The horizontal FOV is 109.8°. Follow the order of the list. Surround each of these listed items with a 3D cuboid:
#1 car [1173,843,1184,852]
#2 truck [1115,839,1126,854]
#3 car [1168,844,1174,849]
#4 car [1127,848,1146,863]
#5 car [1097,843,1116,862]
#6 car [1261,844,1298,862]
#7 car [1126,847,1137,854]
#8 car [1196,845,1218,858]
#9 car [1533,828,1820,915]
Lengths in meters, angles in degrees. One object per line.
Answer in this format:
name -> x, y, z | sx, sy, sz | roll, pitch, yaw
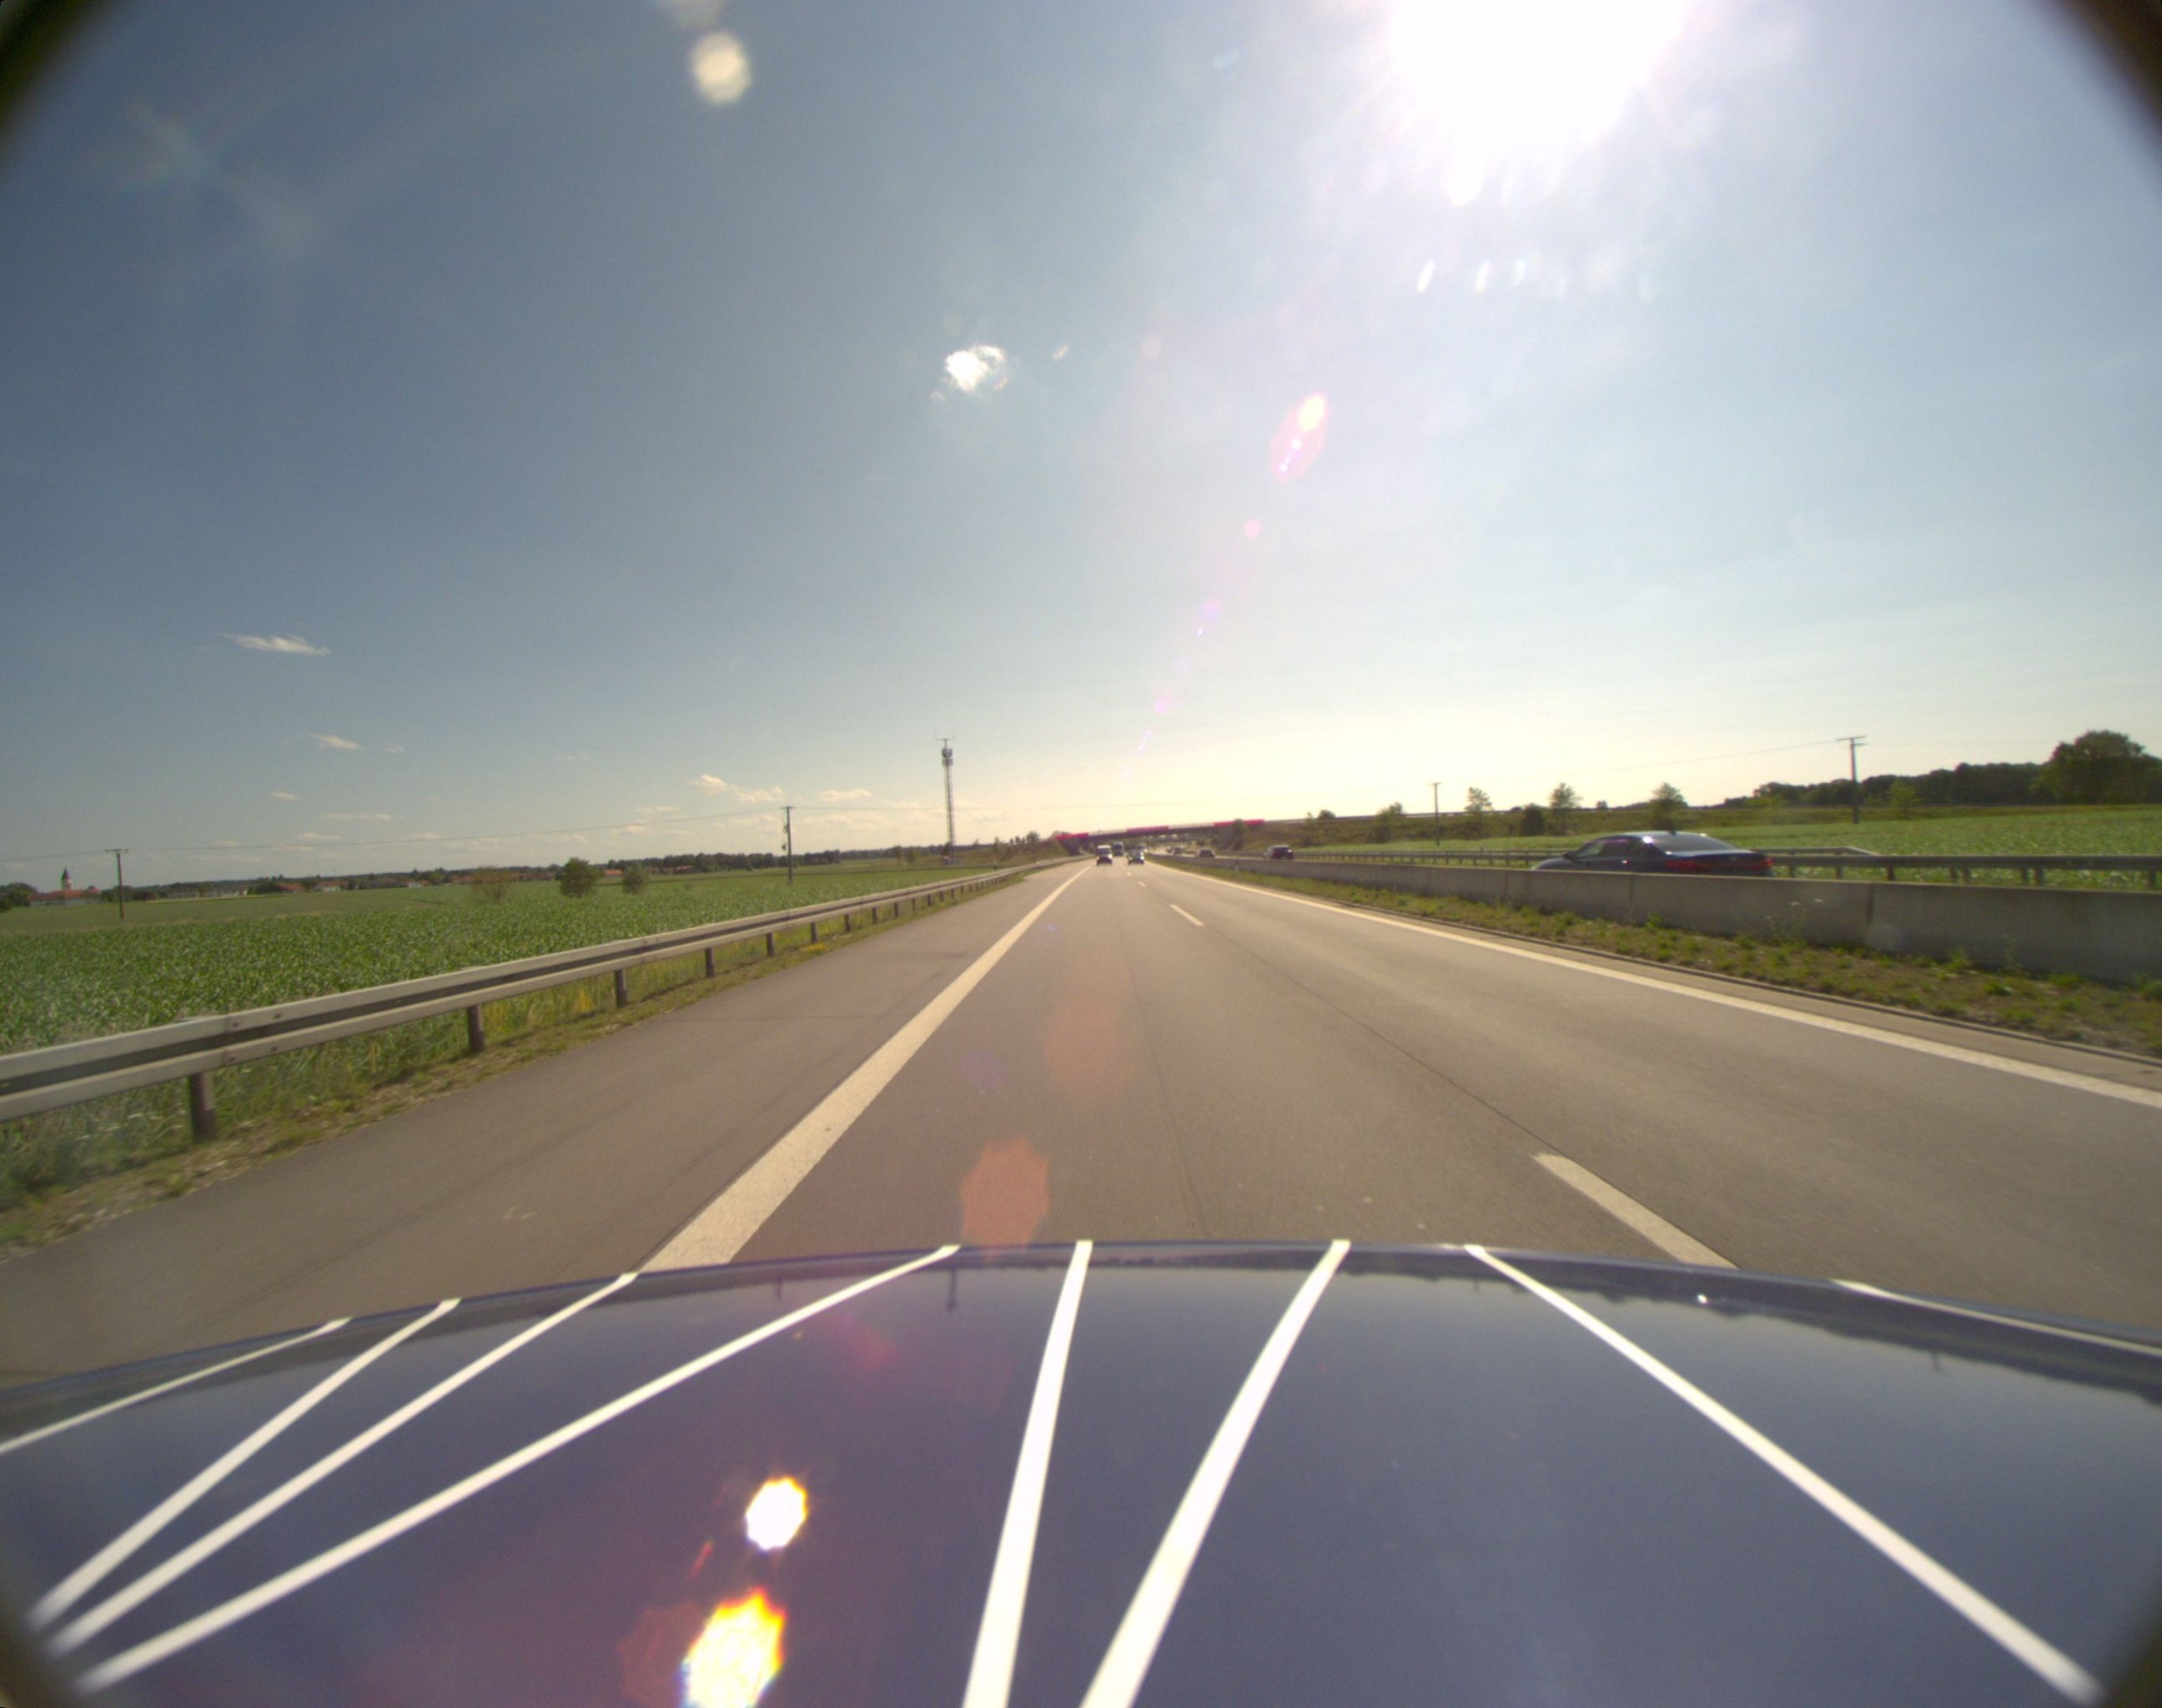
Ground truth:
car -> 23.819, -1.635, 185.972 | 1.998, 2.002, 5.613 | -2, 1, 3
truck -> 10.877, -2.132, 211.736 | 2.762, 3.793, 7.517 | -3, 1, 2
car -> 29.965, -2.346, 253.099 | 1.863, 1.505, 4.586 | -4, 0, 4
car -> 6.531, 0.161, 89.961 | 2.030, 1.600, 4.818 | -2, 1, 1
car -> 3.132, -0.243, 93.086 | 2.030, 2.225, 4.819 | -2, 1, 4
car -> 16.135, -0.108, 61.917 | 1.827, 1.357, 4.663 | -1, 0, 1
car -> 11.255, -0.774, 169.992 | 2.030, 1.600, 4.818 | -3, 0, 2
car -> 14.015, -0.226, 84.622 | 1.827, 1.357, 5.198 | -1, 0, 4
car -> 10.976, 0.276, 14.556 | 1.827, 1.357, 4.659 | -1, 0, 0
